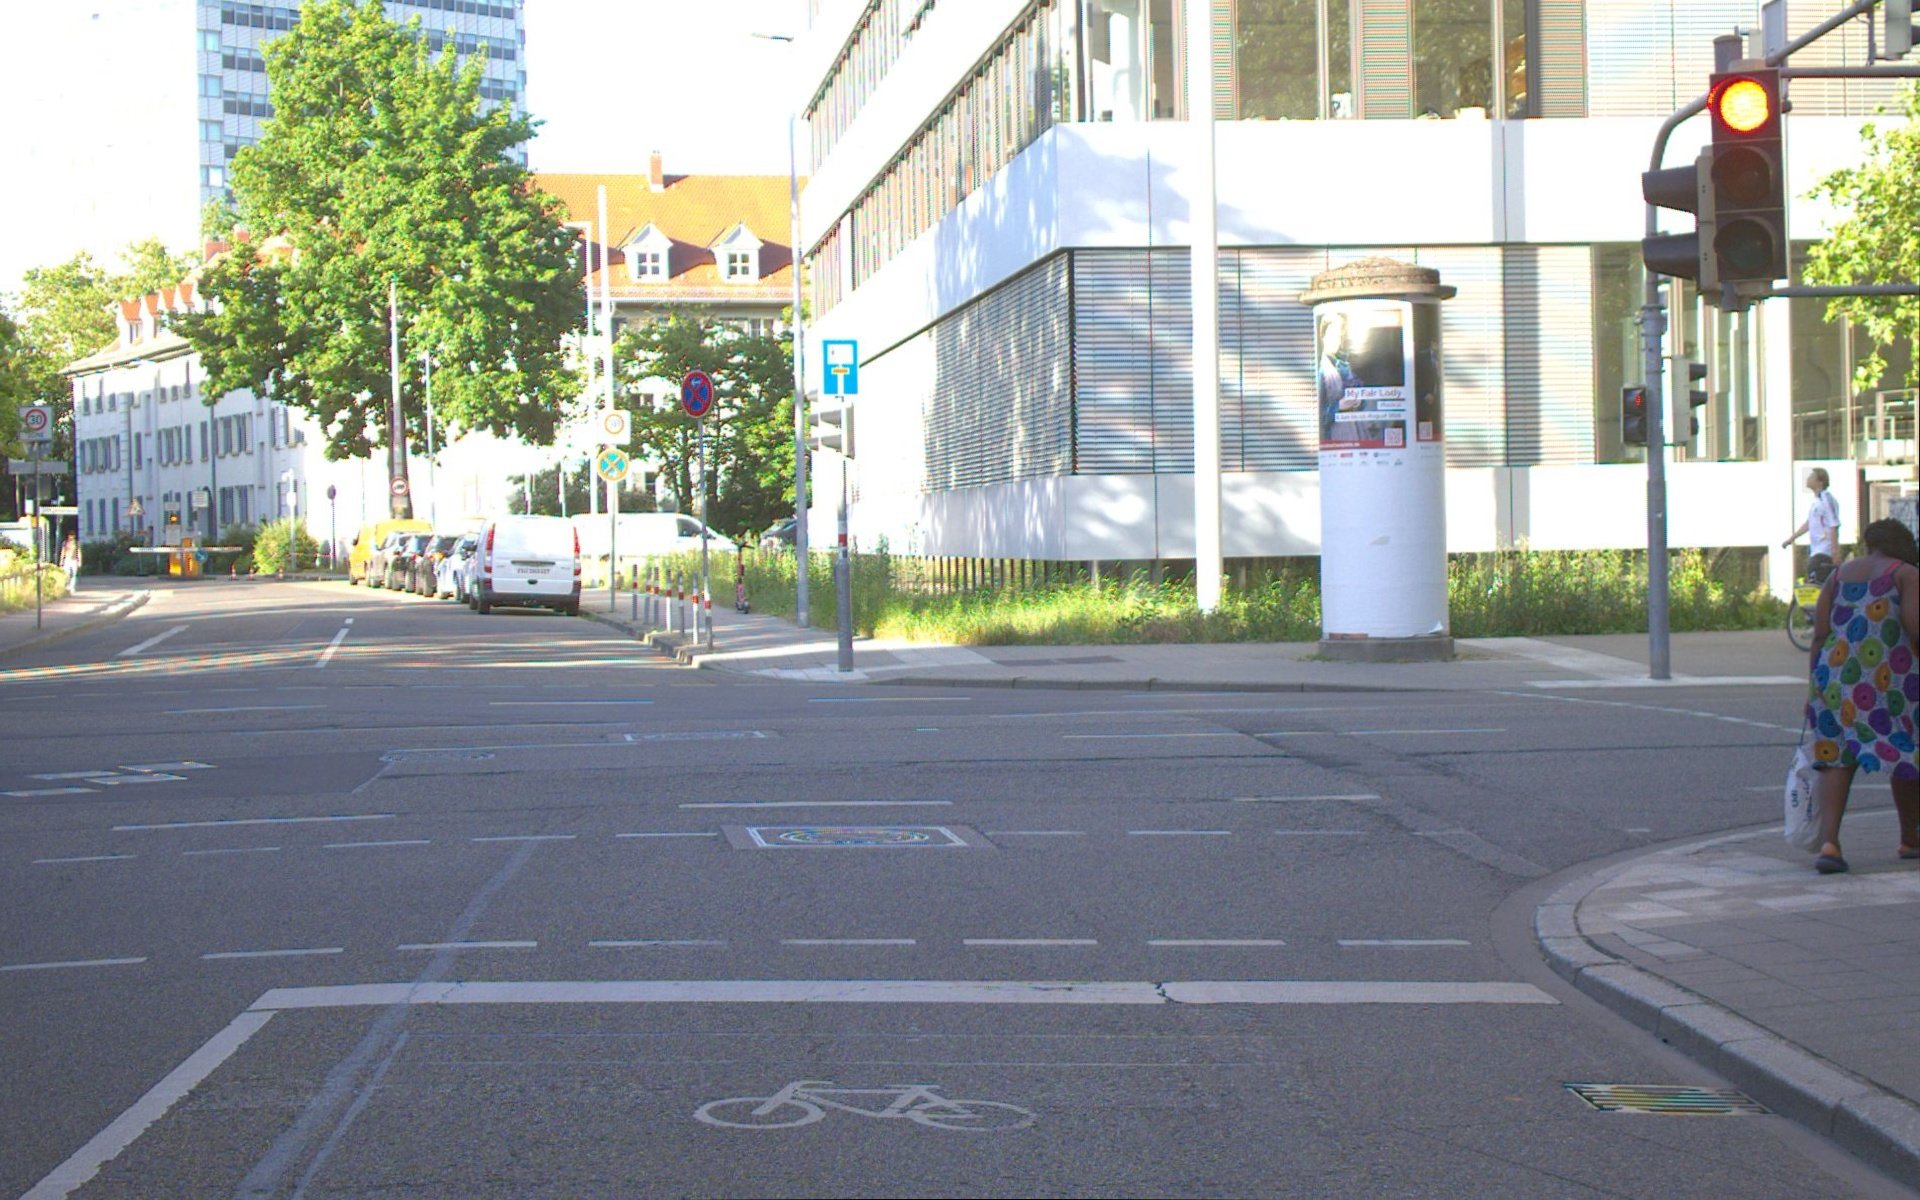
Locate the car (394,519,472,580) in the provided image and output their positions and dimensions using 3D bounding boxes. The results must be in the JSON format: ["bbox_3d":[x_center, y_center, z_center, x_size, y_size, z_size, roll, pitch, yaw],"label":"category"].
[{"bbox_3d":[-13.184,-1.277,85.830,1.703,1.459,4.239,-1,1,-11],"label":"car"}]

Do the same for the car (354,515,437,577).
[{"bbox_3d":[-15.732,-1.504,95.652,2.100,1.652,4.477,-1,1,-11],"label":"car"}]

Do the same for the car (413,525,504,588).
[{"bbox_3d":[-11.884,-1.047,81.323,1.703,1.419,4.239,-1,1,-14],"label":"car"}]

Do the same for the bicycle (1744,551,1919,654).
[{"bbox_3d":[9.186,0.021,36.112,0.463,1.045,1.914,-2,2,-42],"label":"bicycle"}]

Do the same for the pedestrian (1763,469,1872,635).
[{"bbox_3d":[9.571,-0.537,38.397,0.537,1.824,1.040,-2,2,-42],"label":"pedestrian"}]

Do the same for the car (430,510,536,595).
[{"bbox_3d":[-10.634,-1.069,76.418,1.946,1.789,4.239,-1,1,-13],"label":"car"}]

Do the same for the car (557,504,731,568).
[{"bbox_3d":[-9.440,-1.907,102.783,4.880,1.865,2.001,0,0,-17],"label":"car"}]

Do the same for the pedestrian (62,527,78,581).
[{"bbox_3d":[-25.143,-1.294,97.154,0.380,1.529,0.446,-1,1,-12],"label":"pedestrian"}]

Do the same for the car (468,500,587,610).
[{"bbox_3d":[-8.162,-0.869,64.637,2.066,1.956,4.239,-1,1,-9],"label":"car"}]

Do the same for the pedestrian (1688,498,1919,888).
[{"bbox_3d":[3.709,0.384,14.549,0.955,1.568,0.749,-4,1,28],"label":"pedestrian"}]
